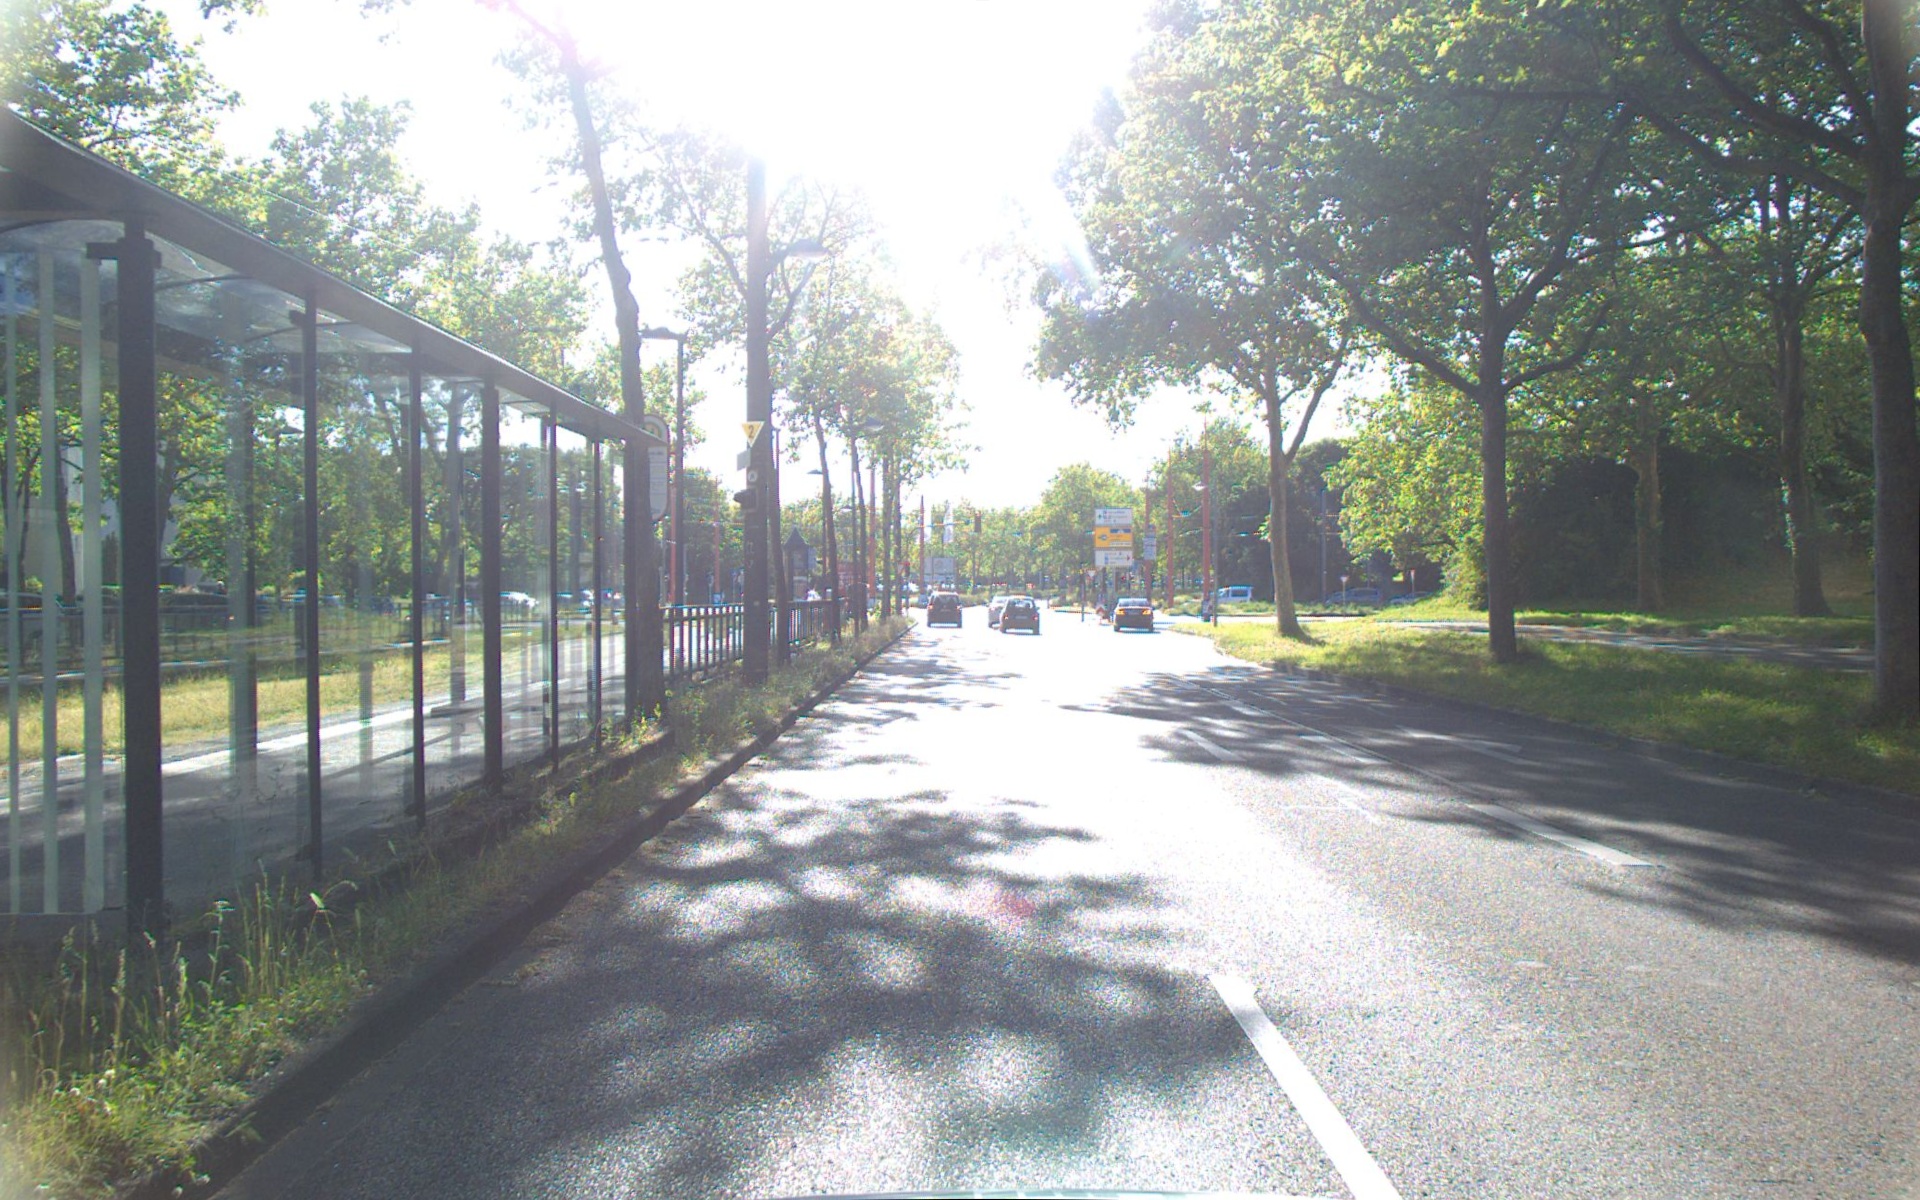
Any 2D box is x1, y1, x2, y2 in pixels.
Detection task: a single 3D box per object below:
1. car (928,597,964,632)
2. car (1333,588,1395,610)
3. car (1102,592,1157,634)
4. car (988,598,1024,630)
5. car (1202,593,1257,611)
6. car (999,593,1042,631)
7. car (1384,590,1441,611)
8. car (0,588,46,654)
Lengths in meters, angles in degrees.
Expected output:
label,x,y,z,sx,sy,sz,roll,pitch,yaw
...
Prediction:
label,x,y,z,sx,sy,sz,roll,pitch,yaw
car,-0.684,0.677,80.054,1.676,1.631,3.349,0,0,-2
car,30.582,-0.108,125.291,4.264,1.586,1.871,1,0,24
car,7.722,0.572,75.618,1.941,1.823,4.613,0,0,-1
car,2.210,0.655,80.687,1.644,1.500,4.130,1,0,0
car,21.178,0.186,129.896,3.908,1.361,1.727,1,0,26
car,2.542,0.487,70.421,1.606,1.520,3.502,1,1,-2
car,34.667,0.027,126.634,3.909,1.521,1.859,1,0,26
car,-24.580,0.502,40.147,3.960,1.571,1.621,0,1,-43
